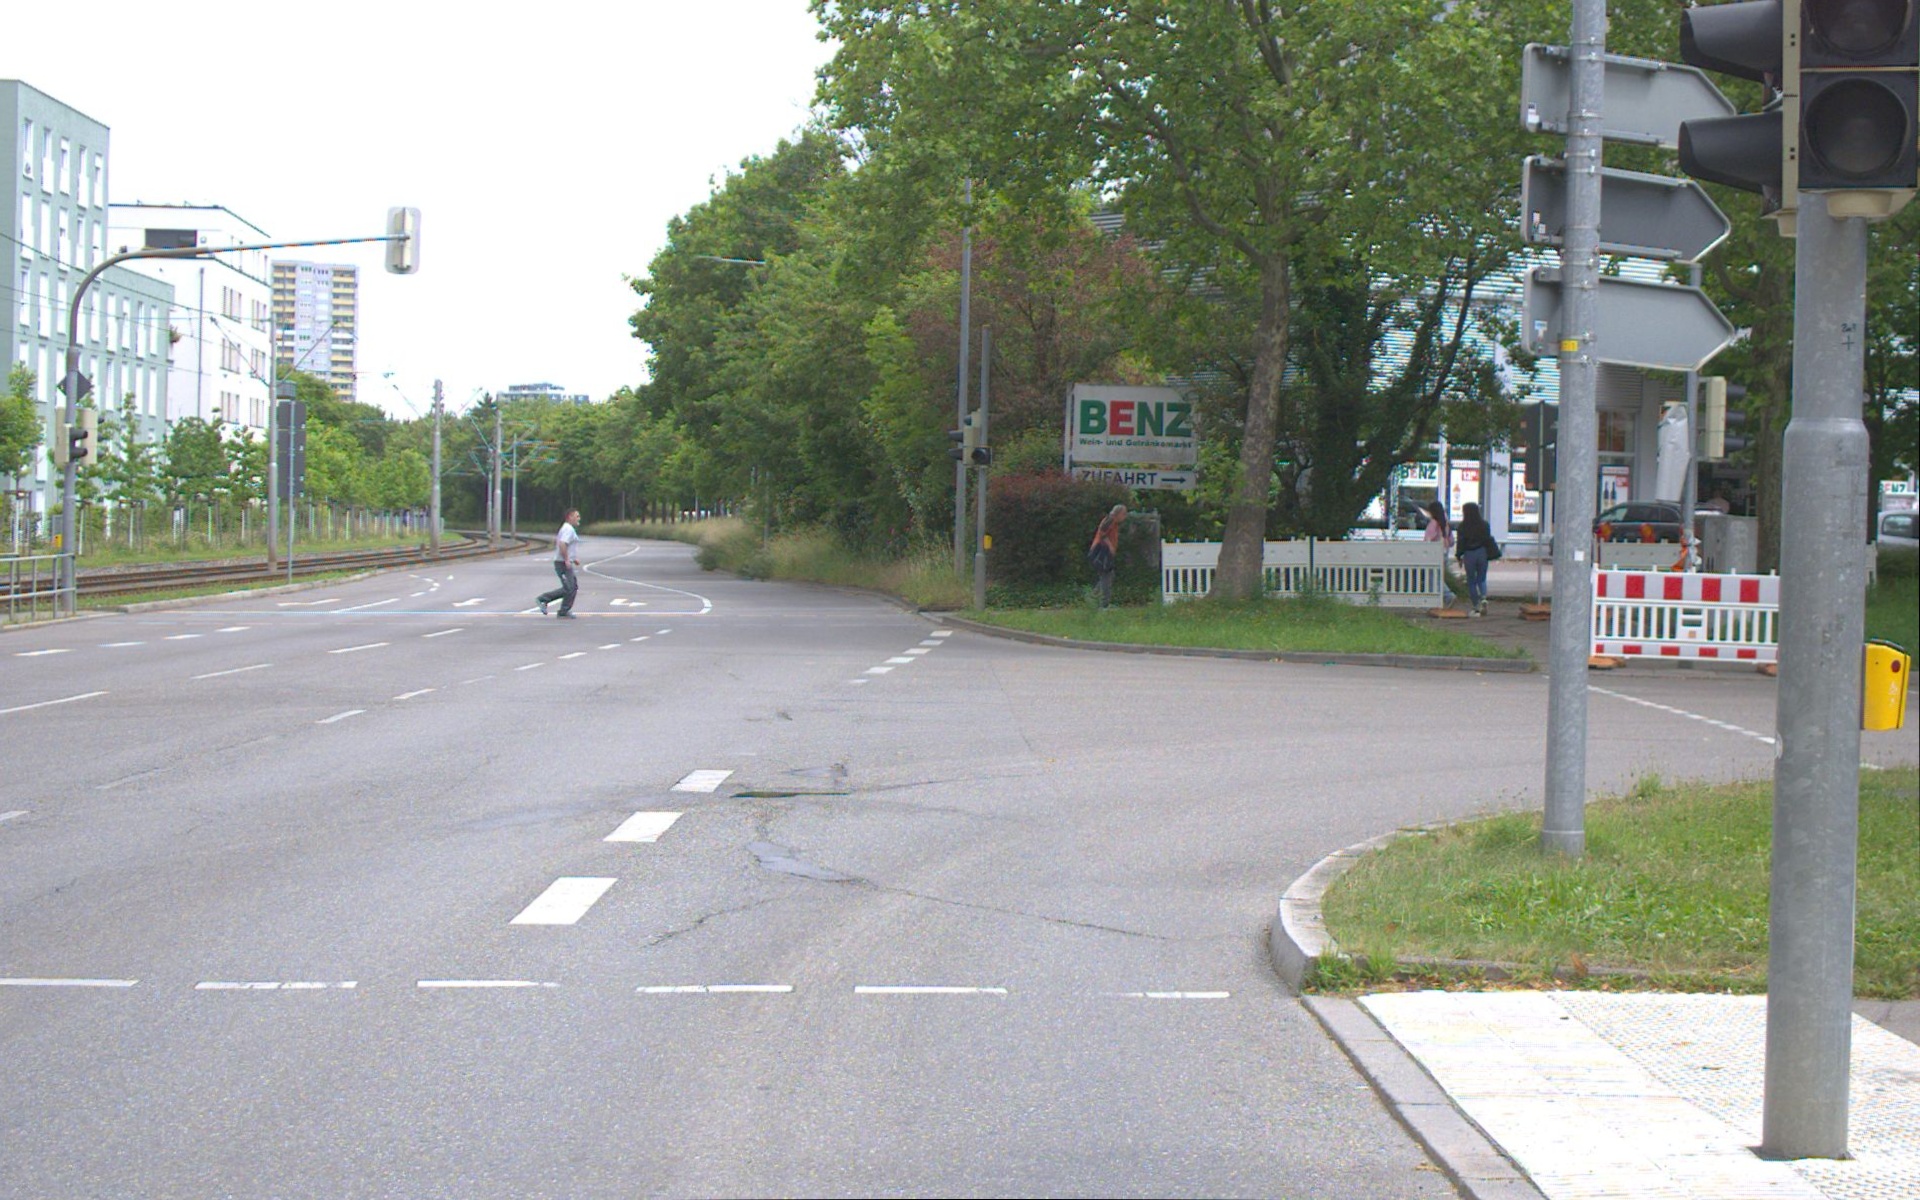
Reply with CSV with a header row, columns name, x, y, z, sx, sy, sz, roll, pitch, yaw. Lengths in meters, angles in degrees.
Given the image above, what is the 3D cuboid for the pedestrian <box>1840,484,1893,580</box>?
name,x,y,z,sx,sy,sz,roll,pitch,yaw
pedestrian,18.972,-1.416,71.932,0.804,1.995,0.853,1,0,-5

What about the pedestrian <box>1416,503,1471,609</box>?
name,x,y,z,sx,sy,sz,roll,pitch,yaw
pedestrian,6.864,-0.619,48.801,0.686,1.484,0.699,1,0,3

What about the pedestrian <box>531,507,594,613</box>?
name,x,y,z,sx,sy,sz,roll,pitch,yaw
pedestrian,-5.986,-0.600,51.827,0.848,1.581,0.796,1,0,-1

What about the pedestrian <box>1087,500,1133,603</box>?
name,x,y,z,sx,sy,sz,roll,pitch,yaw
pedestrian,2.255,-0.725,51.655,0.653,1.533,0.772,1,0,4

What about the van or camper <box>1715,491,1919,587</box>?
name,x,y,z,sx,sy,sz,roll,pitch,yaw
van or camper,15.664,-1.118,61.997,1.840,1.678,4.001,-1,2,-28

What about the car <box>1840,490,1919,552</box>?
name,x,y,z,sx,sy,sz,roll,pitch,yaw
car,21.823,-1.788,78.219,1.480,1.399,3.409,0,1,-31

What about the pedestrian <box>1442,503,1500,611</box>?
name,x,y,z,sx,sy,sz,roll,pitch,yaw
pedestrian,7.116,-0.598,47.906,0.718,1.484,0.699,1,0,4

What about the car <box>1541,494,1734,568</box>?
name,x,y,z,sx,sy,sz,roll,pitch,yaw
car,14.242,-1.448,72.512,1.728,1.495,4.269,1,1,-27
